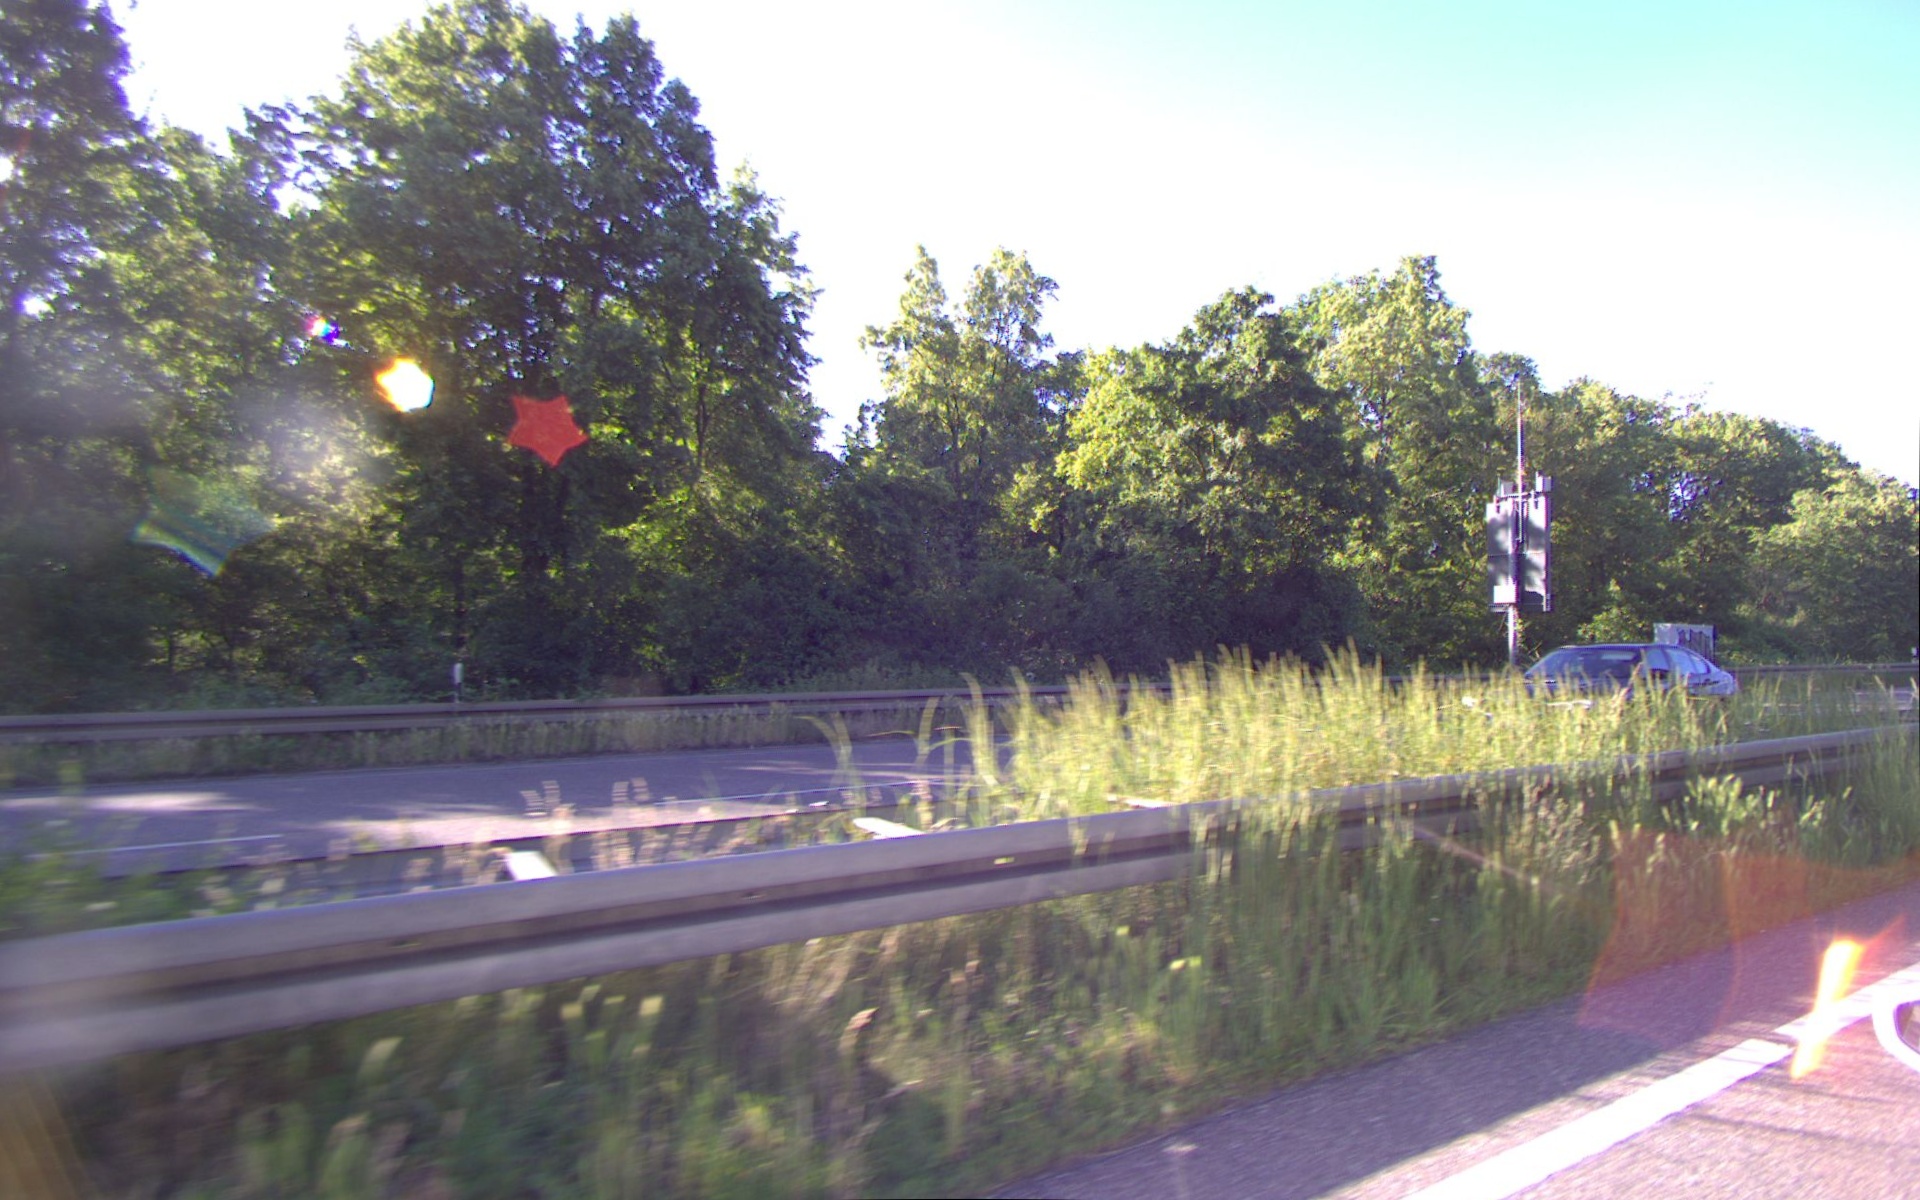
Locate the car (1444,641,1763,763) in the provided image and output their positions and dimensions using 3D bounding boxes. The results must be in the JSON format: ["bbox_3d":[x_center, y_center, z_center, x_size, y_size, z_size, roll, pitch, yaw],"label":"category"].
[{"bbox_3d":[8.841,1.275,13.718,4.497,1.421,1.773,1,-2,-29],"label":"car"}]
